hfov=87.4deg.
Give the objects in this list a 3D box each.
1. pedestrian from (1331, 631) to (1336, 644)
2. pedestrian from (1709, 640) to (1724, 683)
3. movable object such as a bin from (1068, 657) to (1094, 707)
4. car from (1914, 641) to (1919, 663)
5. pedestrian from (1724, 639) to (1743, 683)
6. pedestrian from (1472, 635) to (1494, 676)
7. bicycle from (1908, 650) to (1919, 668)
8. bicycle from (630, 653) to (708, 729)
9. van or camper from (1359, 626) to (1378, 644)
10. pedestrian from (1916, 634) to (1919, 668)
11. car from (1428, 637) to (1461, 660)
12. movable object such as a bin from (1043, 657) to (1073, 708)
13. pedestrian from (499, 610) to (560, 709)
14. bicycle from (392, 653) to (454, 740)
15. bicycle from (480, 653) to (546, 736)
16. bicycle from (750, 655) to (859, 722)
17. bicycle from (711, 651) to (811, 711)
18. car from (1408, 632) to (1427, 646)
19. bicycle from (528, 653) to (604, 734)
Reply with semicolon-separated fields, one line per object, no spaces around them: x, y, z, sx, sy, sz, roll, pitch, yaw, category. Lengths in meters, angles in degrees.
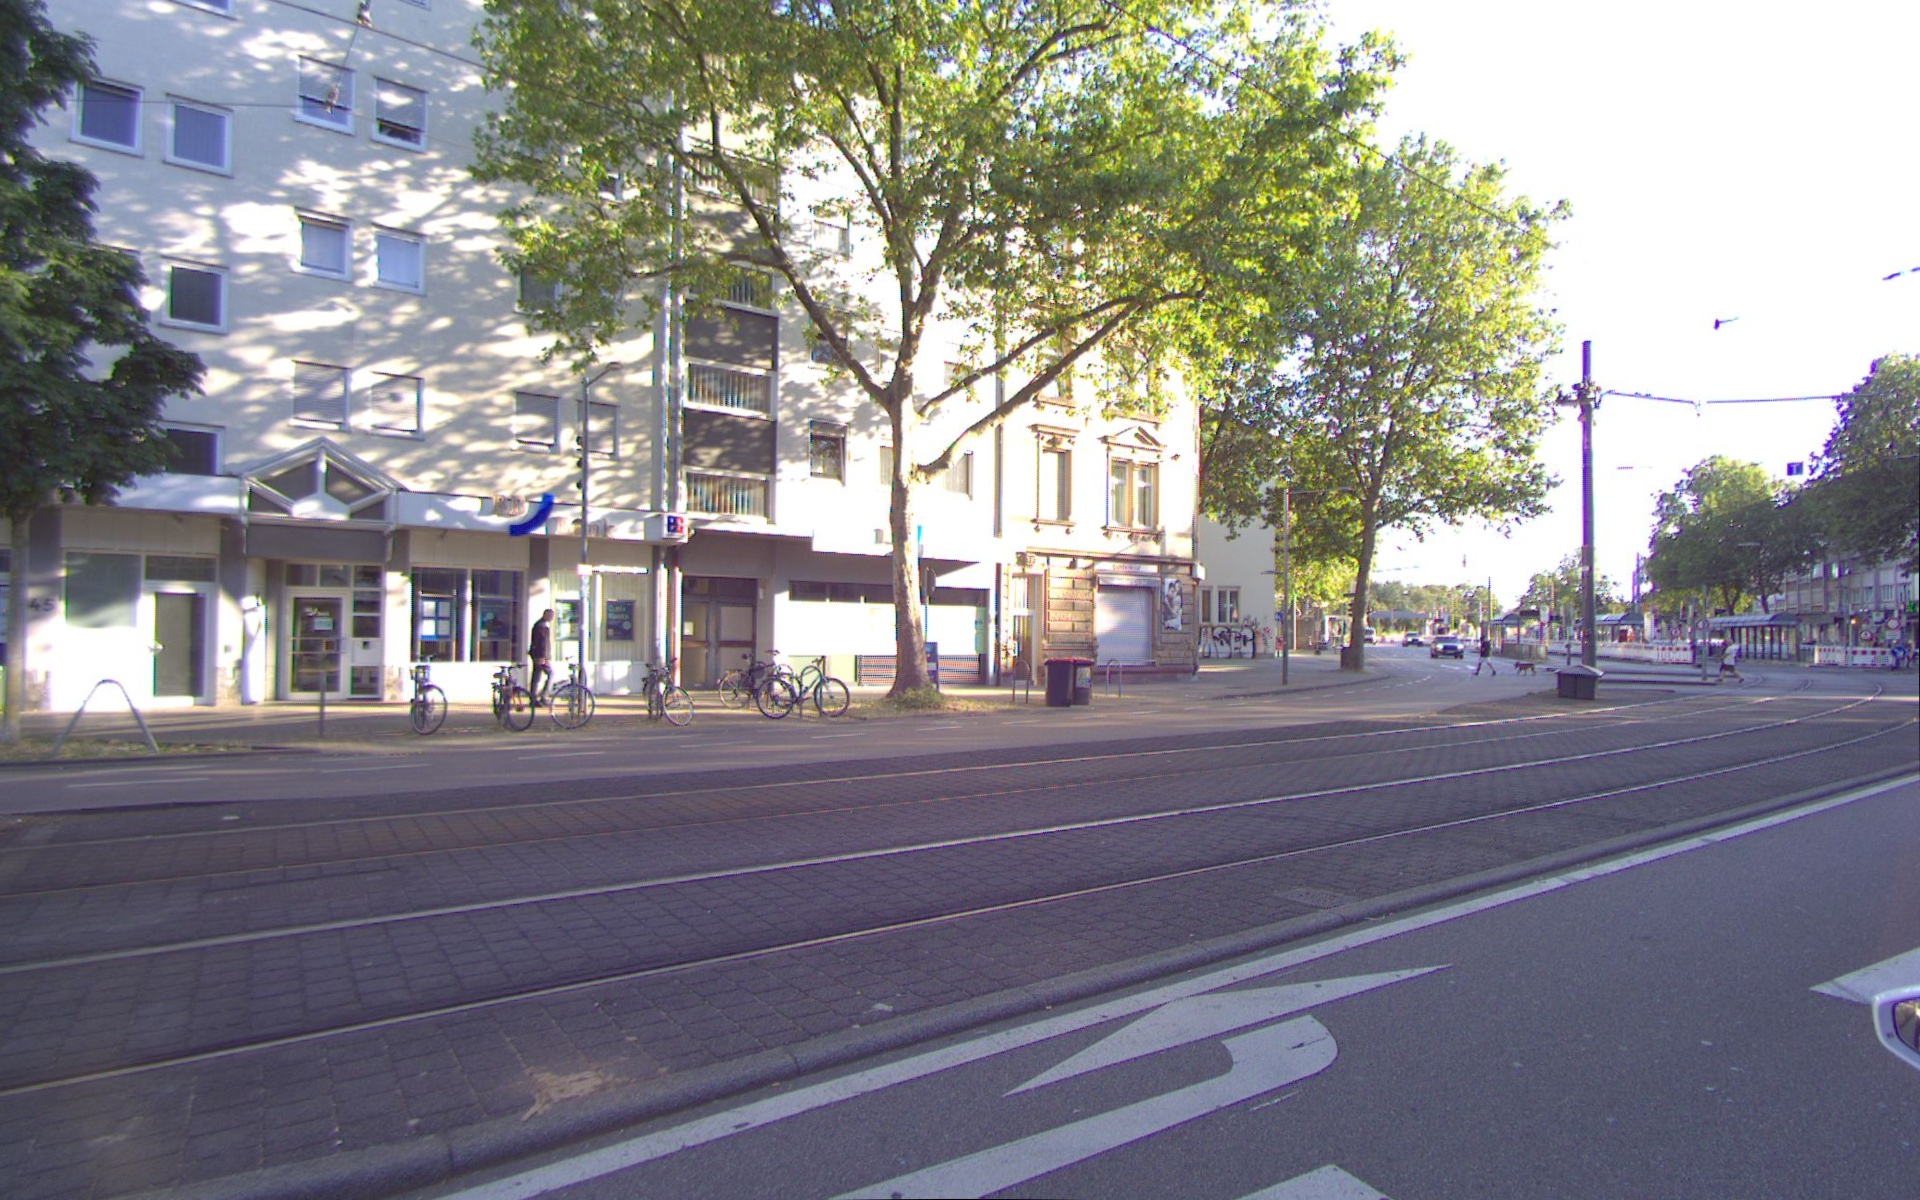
43.257;4.367;116.363;0.507;1.524;0.558;0;-2;23;pedestrian
27.405;2.211;36.386;0.403;1.524;0.515;0;-2;35;pedestrian
2.758;1.858;22.847;0.562;1.108;0.477;0;-2;5;movable object such as a bin
64.526;3.400;65.859;1.635;1.488;3.412;-3;-3;22;car
27.479;2.166;35.680;0.513;1.524;0.591;-1;-2;37;pedestrian
22.422;2.372;43.066;0.663;1.733;0.431;2;0;2;pedestrian
50.497;3.070;52.108;0.458;0.955;1.834;1;-2;-27;bicycle
-4.977;1.512;17.109;0.646;1.139;1.880;2;-1;-36;bicycle
54.211;4.684;133.454;2.131;2.349;5.104;0;-2;20;van or camper
50.054;2.642;51.988;0.394;1.748;0.717;1;-2;-27;pedestrian
32.675;3.232;67.784;1.856;1.492;4.205;0;-2;24;car
2.172;1.817;22.230;0.634;1.108;0.546;0;-2;5;movable object such as a bin
-8.175;1.119;19.087;0.959;1.811;0.615;2;0;-31;pedestrian
-7.966;1.390;14.868;0.529;1.139;1.880;2;-1;-36;bicycle
-6.974;1.431;15.616;0.529;1.139;1.880;2;-1;-36;bicycle
-2.806;1.578;18.230;1.891;1.139;0.505;2;-1;-34;bicycle
-3.954;1.588;20.026;1.891;1.139;0.505;2;-1;-34;bicycle
52.629;4.477;115.627;1.855;1.606;4.206;0;-2;22;car
-6.336;1.460;16.089;0.646;1.139;1.880;2;-1;-36;bicycle
